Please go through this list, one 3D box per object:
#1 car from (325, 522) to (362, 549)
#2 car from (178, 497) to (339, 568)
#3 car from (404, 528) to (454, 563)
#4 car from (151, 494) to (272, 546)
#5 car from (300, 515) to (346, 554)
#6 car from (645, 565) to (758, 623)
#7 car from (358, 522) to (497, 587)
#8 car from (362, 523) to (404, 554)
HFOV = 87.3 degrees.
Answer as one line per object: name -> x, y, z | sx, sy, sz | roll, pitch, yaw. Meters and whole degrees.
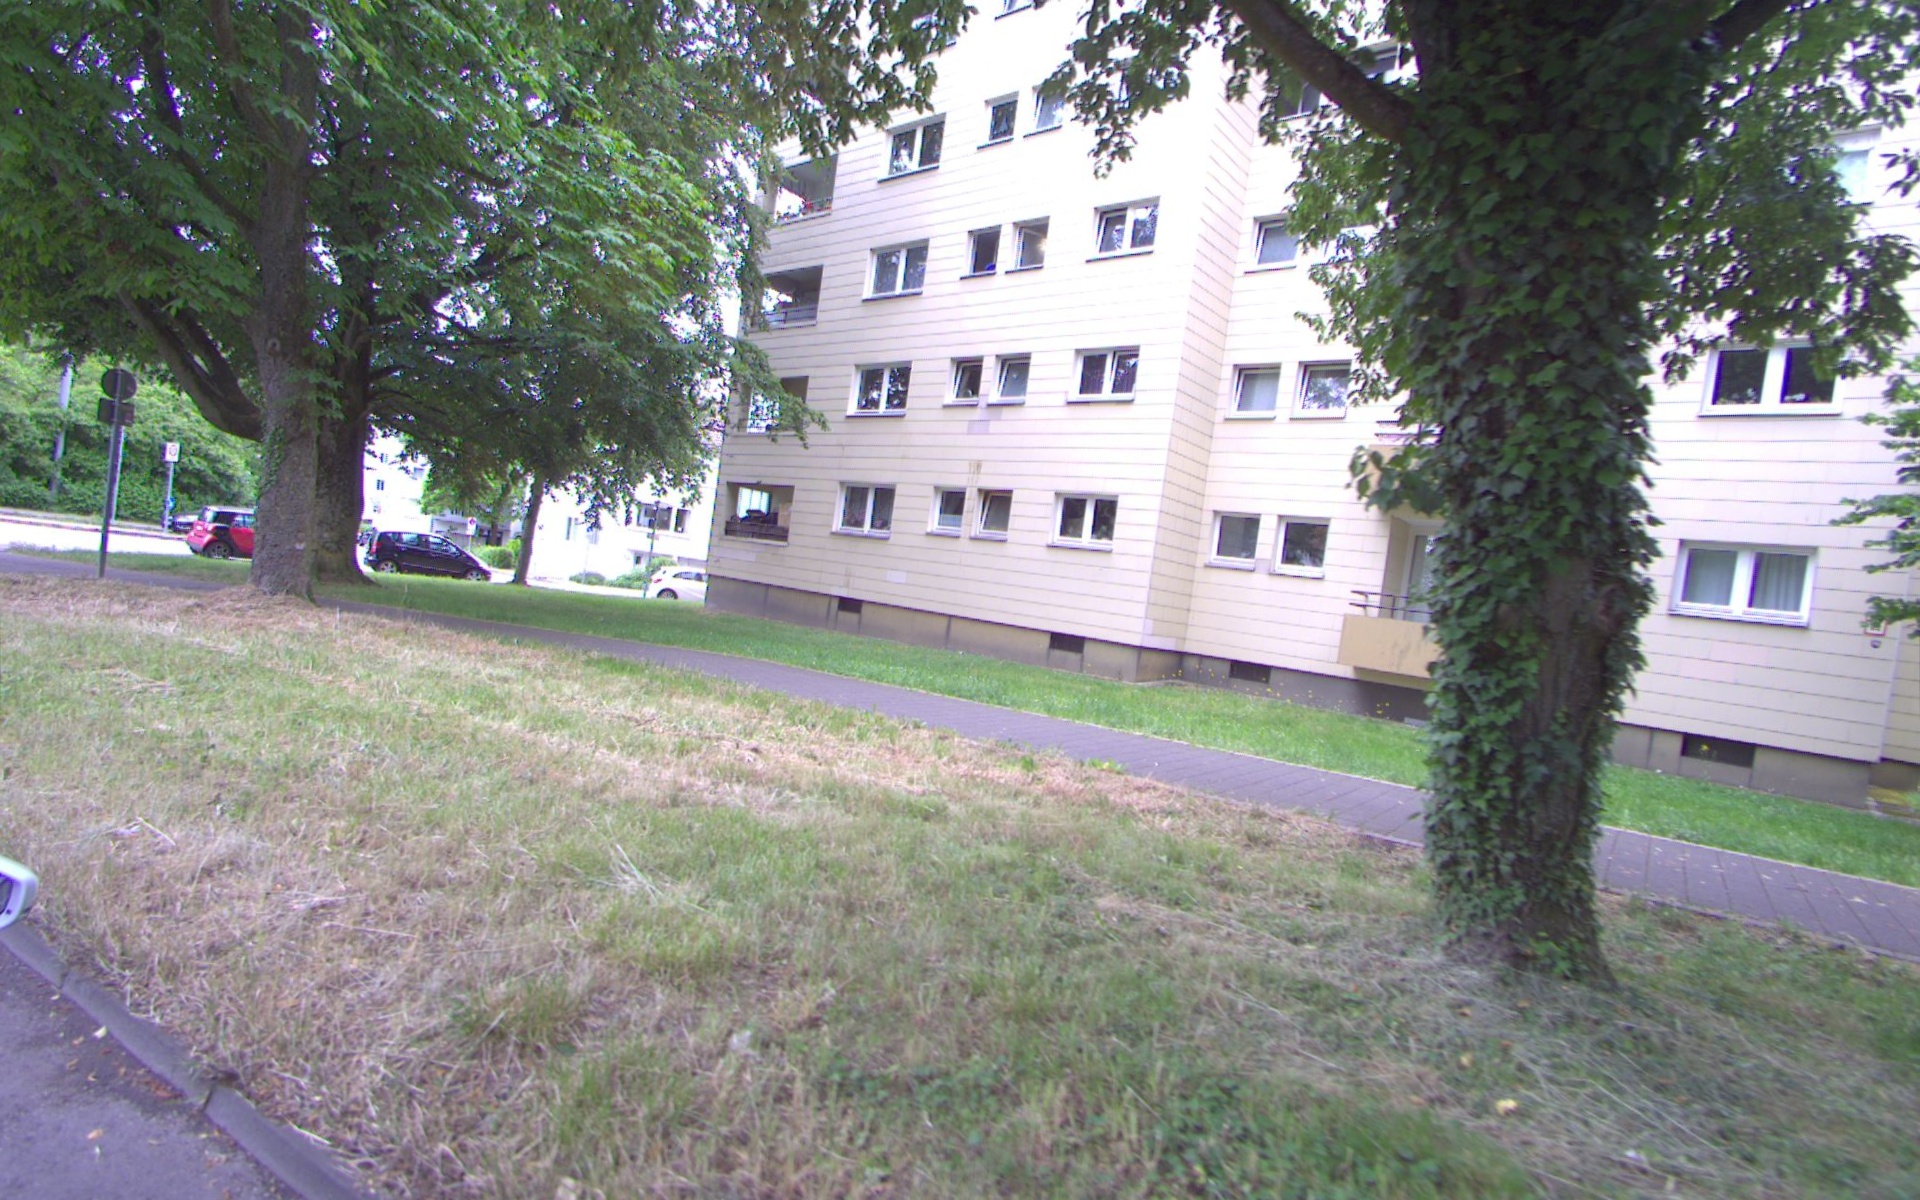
car -> -45.213, -4.729, 73.740 | 1.714, 1.631, 3.811 | 5, 2, -39
car -> -21.008, -1.995, 30.235 | 1.701, 1.631, 3.517 | 8, 1, 36
car -> -30.203, -3.089, 57.167 | 1.714, 1.631, 3.811 | 5, 2, -39
car -> -30.092, -3.208, 40.529 | 1.702, 1.550, 3.516 | 8, 1, 37
car -> -31.758, -3.290, 50.246 | 1.709, 1.631, 3.821 | 6, 1, -31
car -> -9.483, -0.240, 36.840 | 3.797, 1.631, 1.720 | 6, 1, -19
car -> -17.594, -1.493, 33.281 | 3.816, 1.631, 1.712 | 6, 2, -34
car -> -37.287, -3.974, 64.972 | 1.714, 1.631, 3.811 | 5, 2, -39
